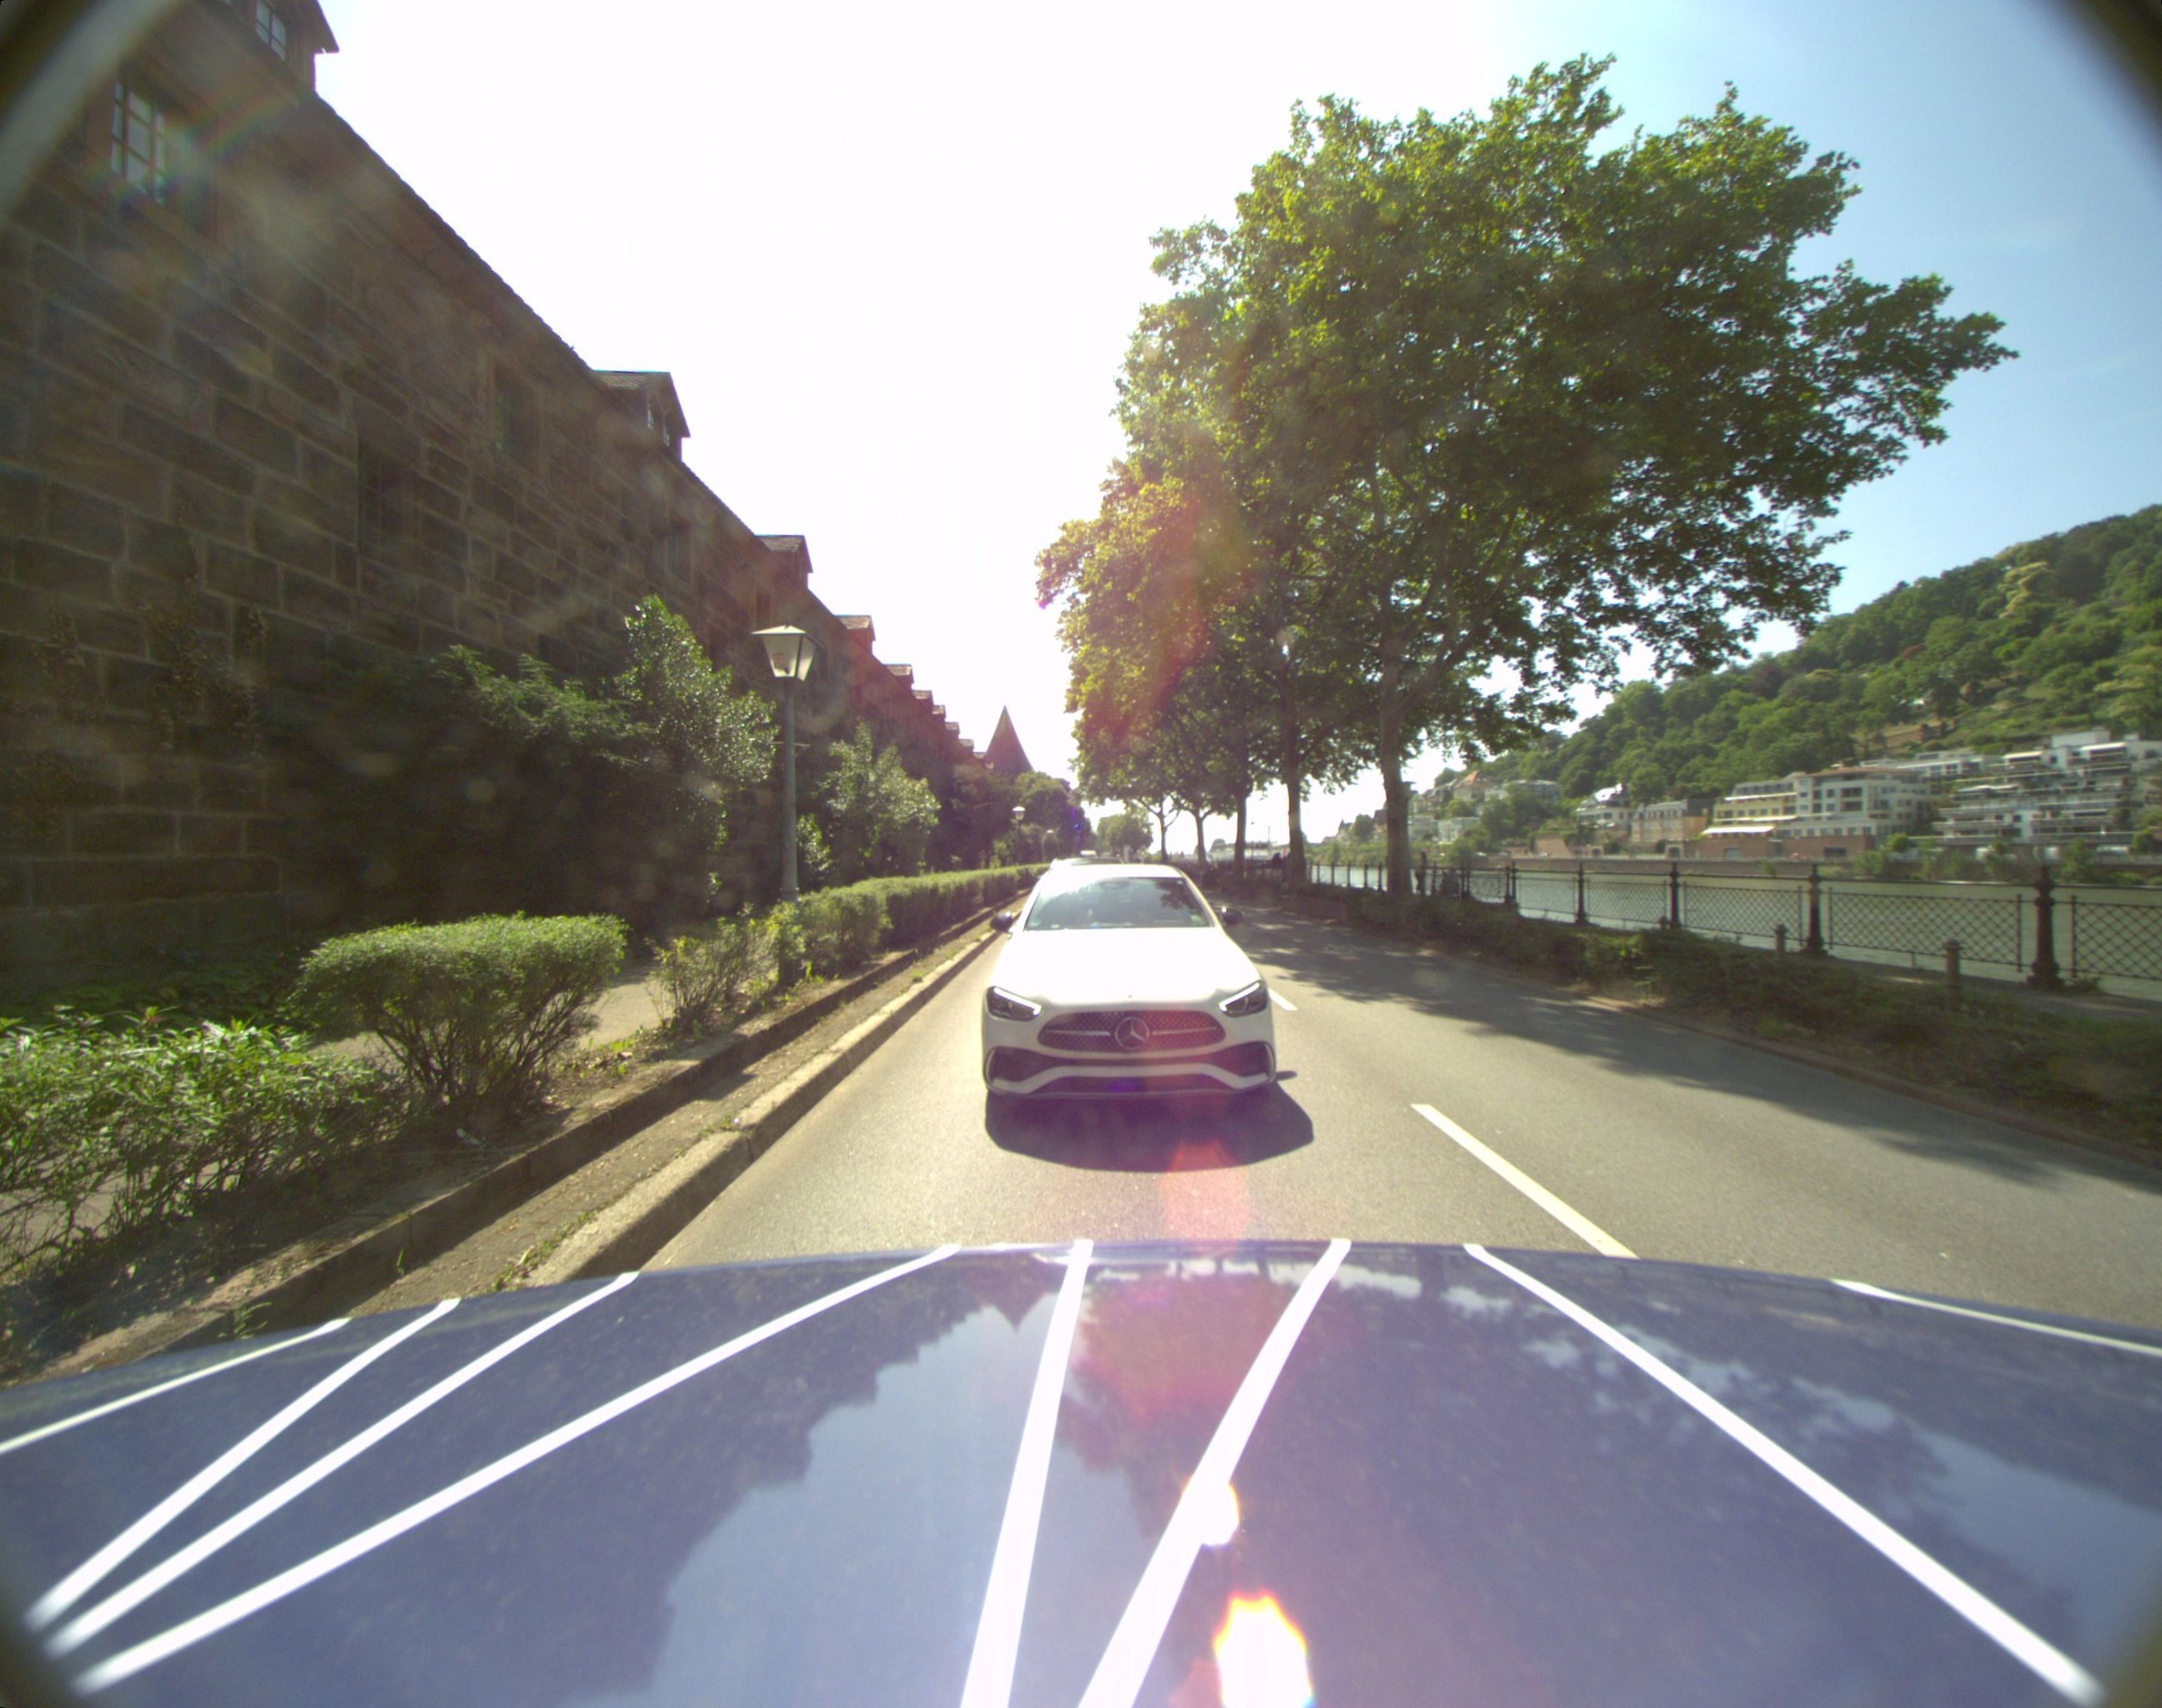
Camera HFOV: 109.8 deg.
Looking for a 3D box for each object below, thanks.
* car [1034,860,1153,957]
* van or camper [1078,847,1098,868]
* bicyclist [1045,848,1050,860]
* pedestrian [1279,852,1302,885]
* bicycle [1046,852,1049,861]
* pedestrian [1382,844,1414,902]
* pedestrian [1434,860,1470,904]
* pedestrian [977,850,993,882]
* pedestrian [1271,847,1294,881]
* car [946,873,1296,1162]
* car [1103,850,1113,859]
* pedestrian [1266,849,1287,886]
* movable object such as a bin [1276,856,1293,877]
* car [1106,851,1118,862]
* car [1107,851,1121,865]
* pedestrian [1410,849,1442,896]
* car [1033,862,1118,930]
[{"bbox_3d":[0.232,0.882,14.128,1.833,1.428,4.270,-2,0,1],"label":"car"},{"bbox_3d":[0.851,0.403,92.482,2.313,2.358,5.035,1,0,0],"label":"van or camper"},{"bbox_3d":[-4.354,-0.038,98.587,0.550,1.513,0.583,-2,1,-1],"label":"bicyclist"},{"bbox_3d":[10.836,0.741,39.358,0.897,1.625,1.059,-2,1,5],"label":"pedestrian"},{"bbox_3d":[-4.322,0.355,98.561,0.406,1.169,1.576,-2,1,-2],"label":"bicycle"},{"bbox_3d":[10.582,0.633,25.387,0.767,1.889,0.771,1,1,8],"label":"pedestrian"},{"bbox_3d":[12.025,0.905,24.656,0.768,1.379,0.770,1,0,0],"label":"pedestrian"},{"bbox_3d":[-4.693,0.586,37.346,0.643,1.555,0.563,-2,1,1],"label":"pedestrian"},{"bbox_3d":[12.276,0.605,46.383,1.047,2.002,1.036,-1,1,31],"label":"pedestrian"},{"bbox_3d":[0.245,0.935,6.222,1.833,1.395,4.270,-2,0,1],"label":"car"},{"bbox_3d":[6.158,0.049,172.036,2.165,2.002,4.000,-2,1,1],"label":"car"},{"bbox_3d":[10.062,0.673,39.147,0.806,1.839,0.929,-2,1,1],"label":"pedestrian"},{"bbox_3d":[10.770,0.667,40.236,0.703,1.043,0.783,-2,1,4],"label":"movable object such as a bin"},{"bbox_3d":[5.861,0.481,144.937,2.165,2.002,4.000,-2,1,1],"label":"car"},{"bbox_3d":[5.262,0.618,121.809,2.165,2.002,4.000,-2,1,1],"label":"car"},{"bbox_3d":[12.965,0.695,28.572,0.777,1.748,0.830,1,1,0],"label":"pedestrian"},{"bbox_3d":[-0.092,0.943,18.965,1.833,1.395,4.424,-2,0,1],"label":"car"}]
